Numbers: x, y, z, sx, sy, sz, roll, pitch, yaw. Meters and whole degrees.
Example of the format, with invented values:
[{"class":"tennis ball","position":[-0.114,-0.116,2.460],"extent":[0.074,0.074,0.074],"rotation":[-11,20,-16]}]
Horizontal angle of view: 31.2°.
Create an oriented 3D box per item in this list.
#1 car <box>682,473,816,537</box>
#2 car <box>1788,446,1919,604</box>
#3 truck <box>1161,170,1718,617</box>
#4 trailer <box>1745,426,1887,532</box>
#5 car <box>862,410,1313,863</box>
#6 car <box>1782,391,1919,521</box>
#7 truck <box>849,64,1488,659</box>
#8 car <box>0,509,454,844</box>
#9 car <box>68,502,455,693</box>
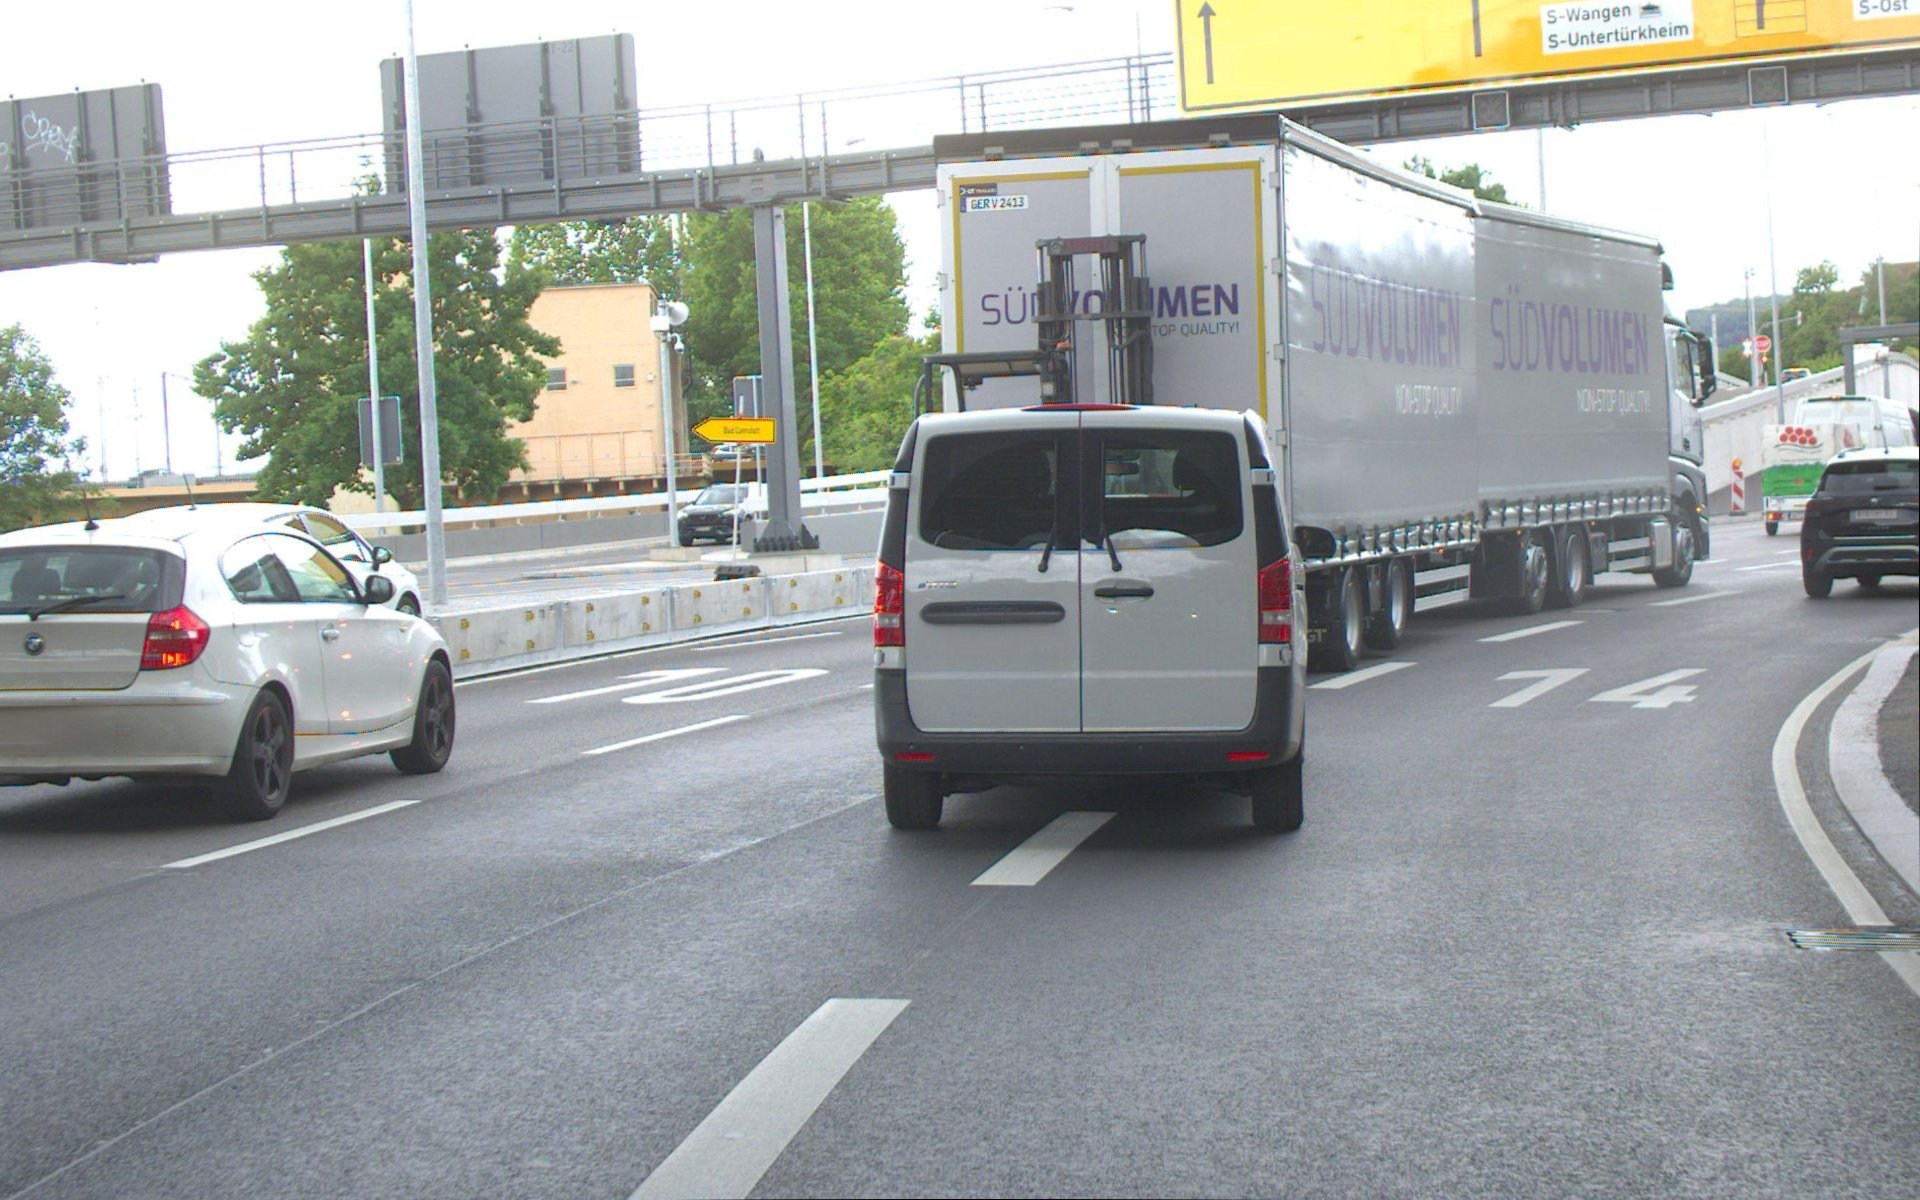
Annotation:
[{"class":"car","position":[-5.451,-2.489,89.378],"extent":[1.995,1.575,4.509],"rotation":[-1,2,17]},{"class":"car","position":[10.275,-0.849,37.349],"extent":[1.752,1.619,3.840],"rotation":[0,2,25]},{"class":"truck","position":[5.642,-2.083,37.811],"extent":[2.991,4.162,11.227],"rotation":[0,2,24]},{"class":"trailer","position":[16.503,-2.341,66.152],"extent":[1.996,1.951,4.074],"rotation":[0,2,24]},{"class":"car","position":[0.714,0.059,16.732],"extent":[1.876,1.884,4.753],"rotation":[0,2,4]},{"class":"car","position":[18.274,-2.935,70.172],"extent":[1.996,2.533,5.168],"rotation":[0,2,24]},{"class":"truck","position":[2.144,-1.741,28.480],"extent":[2.920,4.003,10.193],"rotation":[0,1,17]},{"class":"car","position":[-3.929,0.284,17.288],"extent":[1.639,1.428,3.981],"rotation":[0,2,9]},{"class":"car","position":[-5.751,-0.051,28.787],"extent":[1.577,1.479,3.995],"rotation":[-1,1,14]}]
